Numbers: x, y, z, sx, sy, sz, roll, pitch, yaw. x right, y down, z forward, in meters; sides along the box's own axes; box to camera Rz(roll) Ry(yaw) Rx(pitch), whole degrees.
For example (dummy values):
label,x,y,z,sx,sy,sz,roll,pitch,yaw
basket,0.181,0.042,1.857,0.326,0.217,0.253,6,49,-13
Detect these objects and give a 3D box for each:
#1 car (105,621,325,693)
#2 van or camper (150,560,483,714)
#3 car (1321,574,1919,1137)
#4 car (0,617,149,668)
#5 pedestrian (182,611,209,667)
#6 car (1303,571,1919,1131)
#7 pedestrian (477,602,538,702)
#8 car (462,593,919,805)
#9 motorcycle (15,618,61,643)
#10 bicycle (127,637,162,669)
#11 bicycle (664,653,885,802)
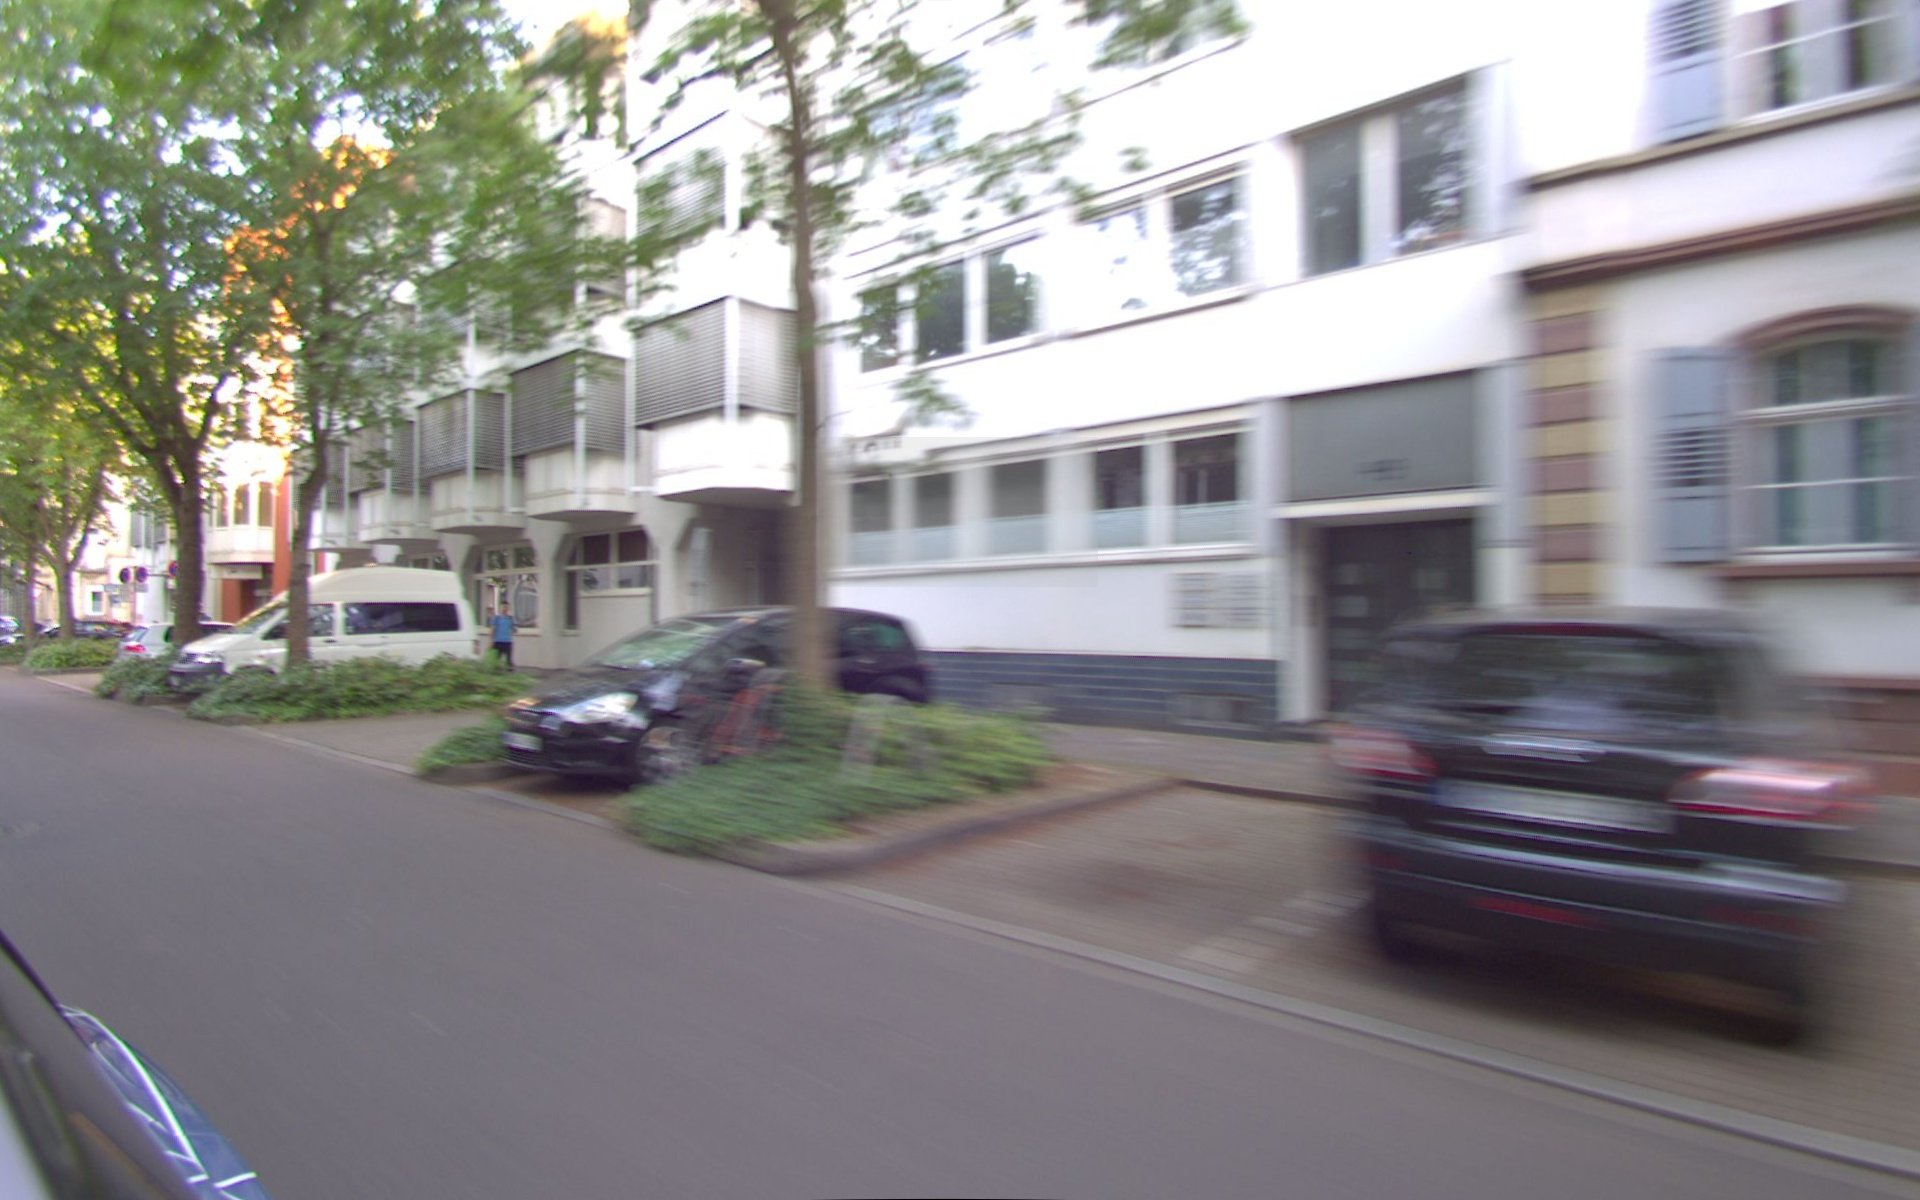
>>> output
label,x,y,z,sx,sy,sz,roll,pitch,yaw
car,-17.586,1.288,24.005,1.622,1.539,4.008,-2,-2,44
van or camper,-11.594,0.670,18.540,1.944,2.446,4.766,-2,-3,41
car,3.396,0.756,4.930,1.788,1.604,3.946,-1,-1,41
car,-33.222,1.568,37.664,1.789,1.772,4.420,-1,-2,38
pedestrian,-24.445,1.232,32.363,0.628,1.758,0.680,1,-2,-40
car,3.311,0.758,4.996,1.826,1.600,3.948,-1,-2,39
pedestrian,-9.521,1.080,21.301,0.839,2.029,0.930,-2,-2,45
car,-2.471,0.870,10.405,1.619,1.695,4.492,-1,-2,37
motorcycle,-44.569,1.469,48.923,0.572,1.151,1.604,-1,0,43
bicycle,-26.349,1.698,32.709,0.448,0.995,1.761,1,-2,-25
bicycle,-1.426,0.957,8.126,0.479,1.033,1.882,-1,-3,39
